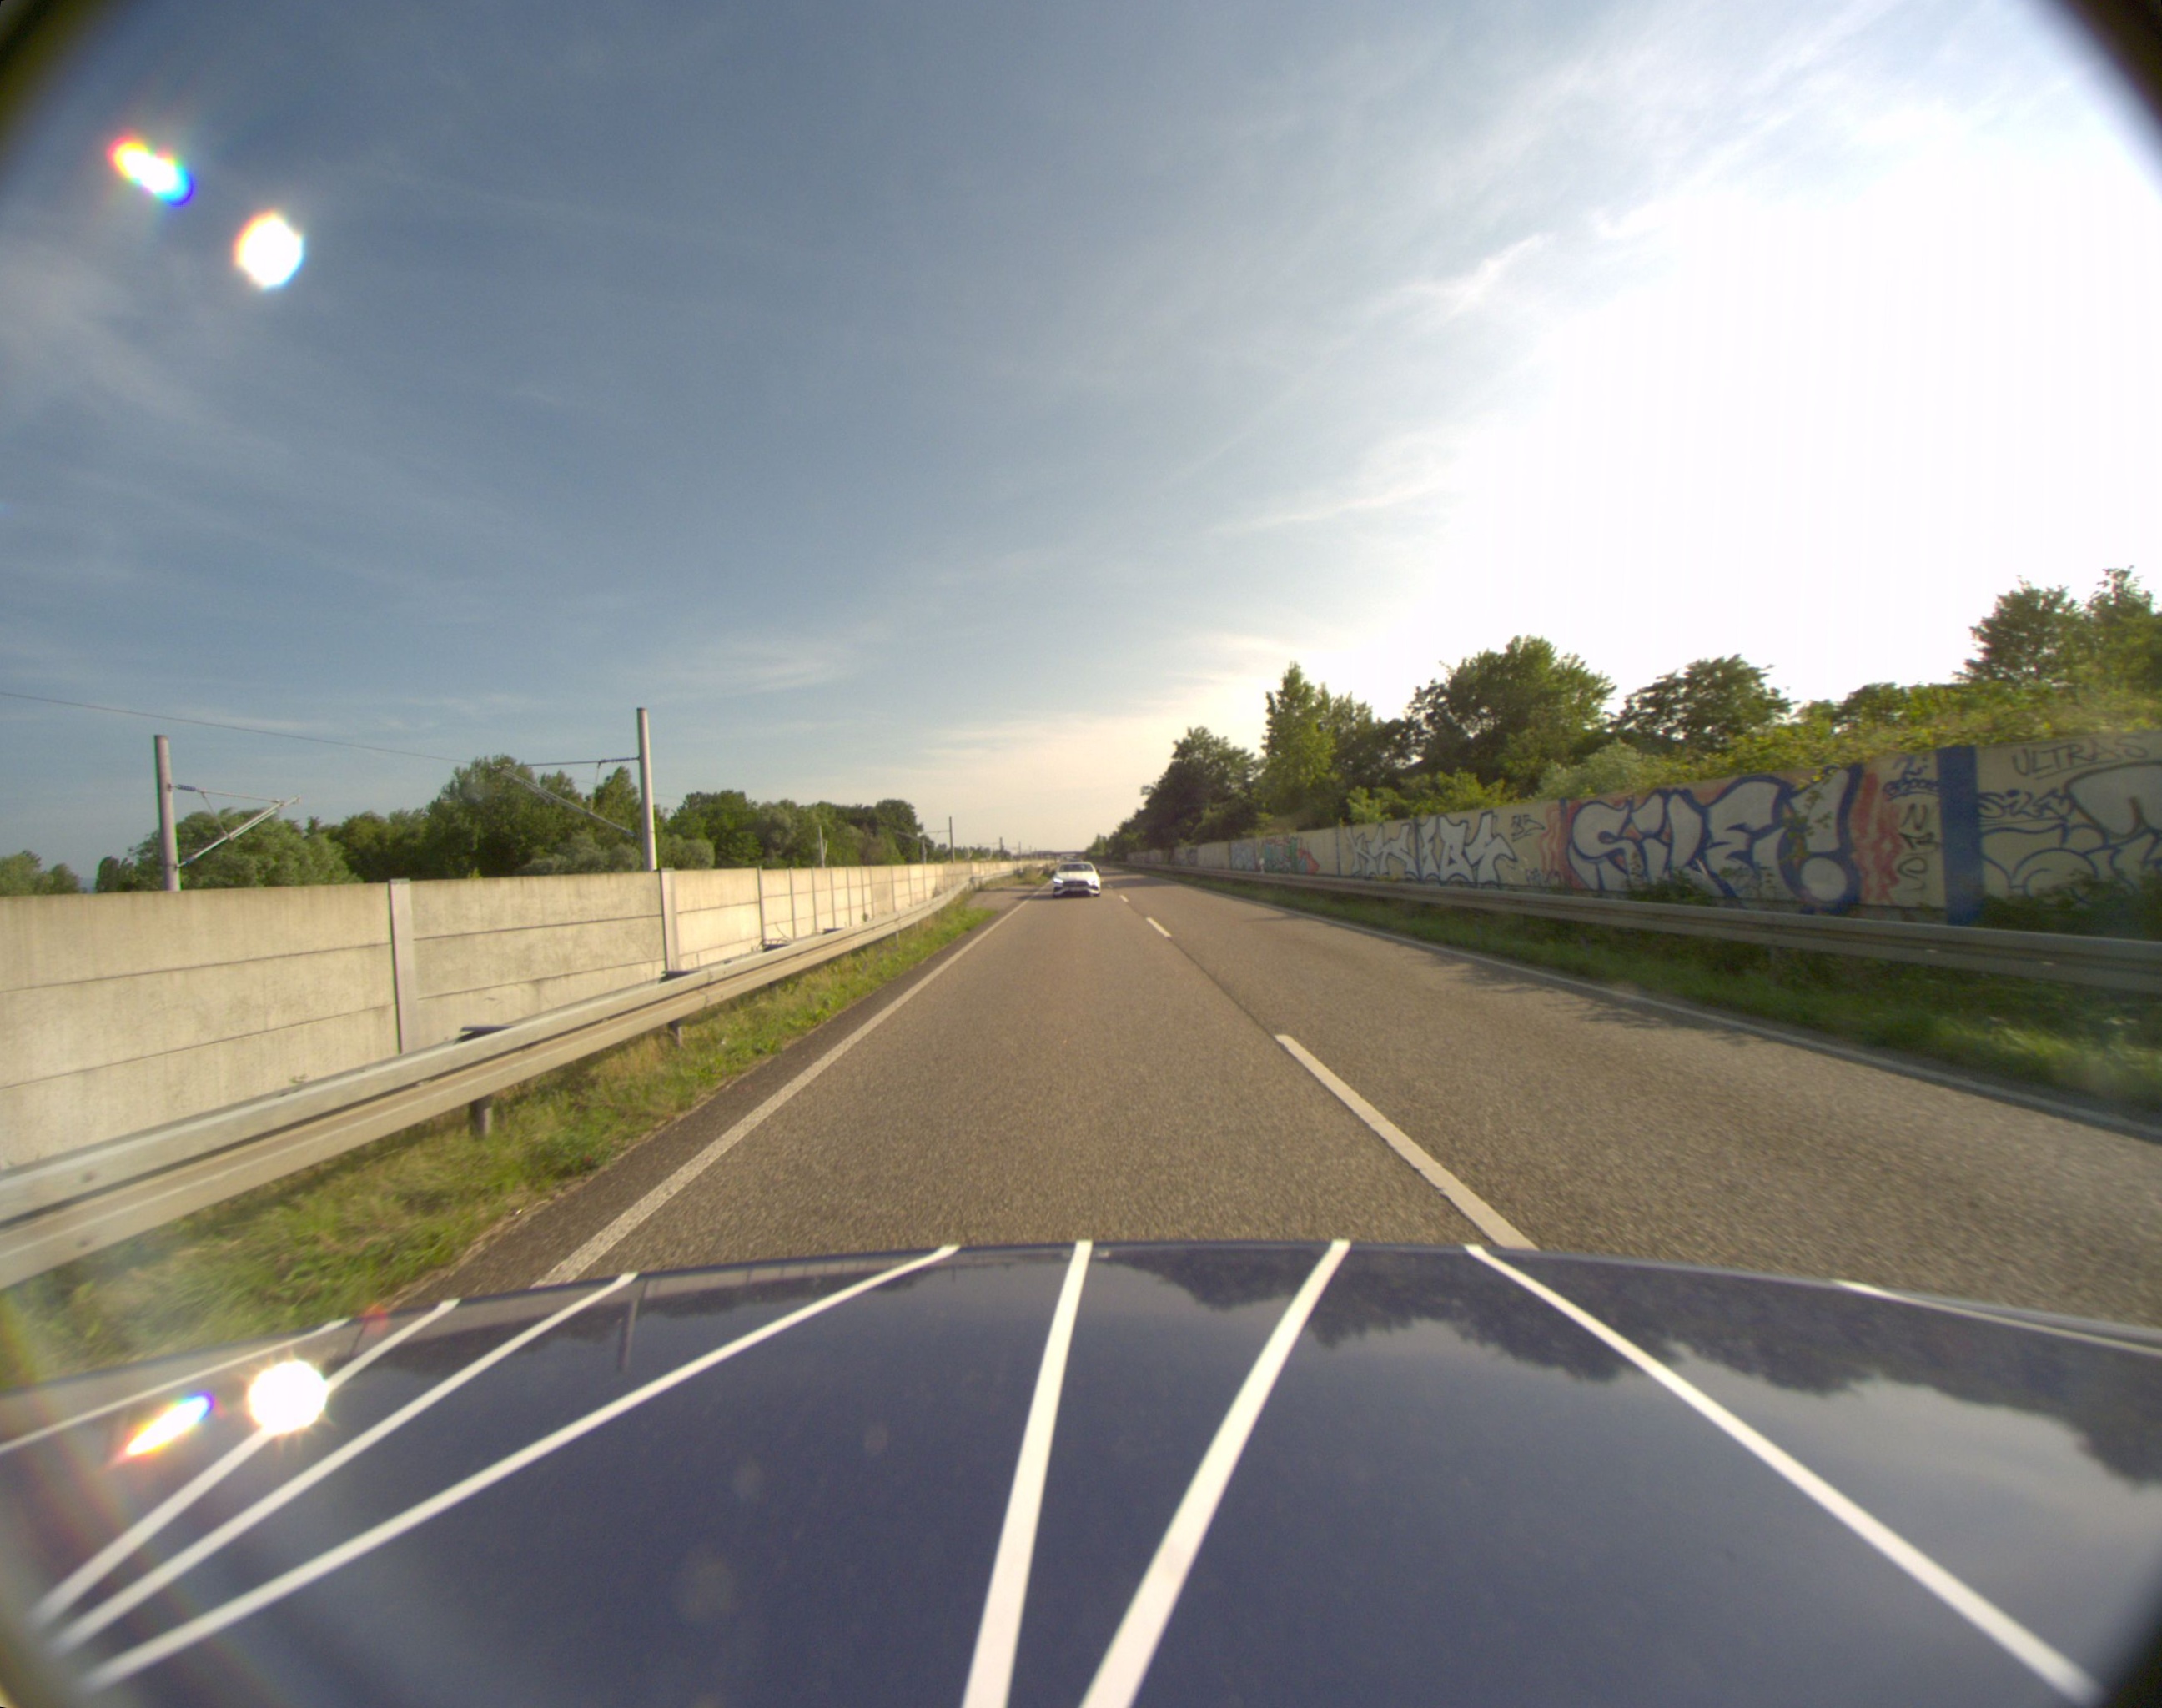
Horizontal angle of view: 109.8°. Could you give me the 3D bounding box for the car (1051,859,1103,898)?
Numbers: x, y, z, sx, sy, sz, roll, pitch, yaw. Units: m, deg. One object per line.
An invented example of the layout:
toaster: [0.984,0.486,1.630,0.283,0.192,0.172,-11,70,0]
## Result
car: [-0.190,0.973,31.522,1.953,1.430,4.611,-2,-1,-1]
